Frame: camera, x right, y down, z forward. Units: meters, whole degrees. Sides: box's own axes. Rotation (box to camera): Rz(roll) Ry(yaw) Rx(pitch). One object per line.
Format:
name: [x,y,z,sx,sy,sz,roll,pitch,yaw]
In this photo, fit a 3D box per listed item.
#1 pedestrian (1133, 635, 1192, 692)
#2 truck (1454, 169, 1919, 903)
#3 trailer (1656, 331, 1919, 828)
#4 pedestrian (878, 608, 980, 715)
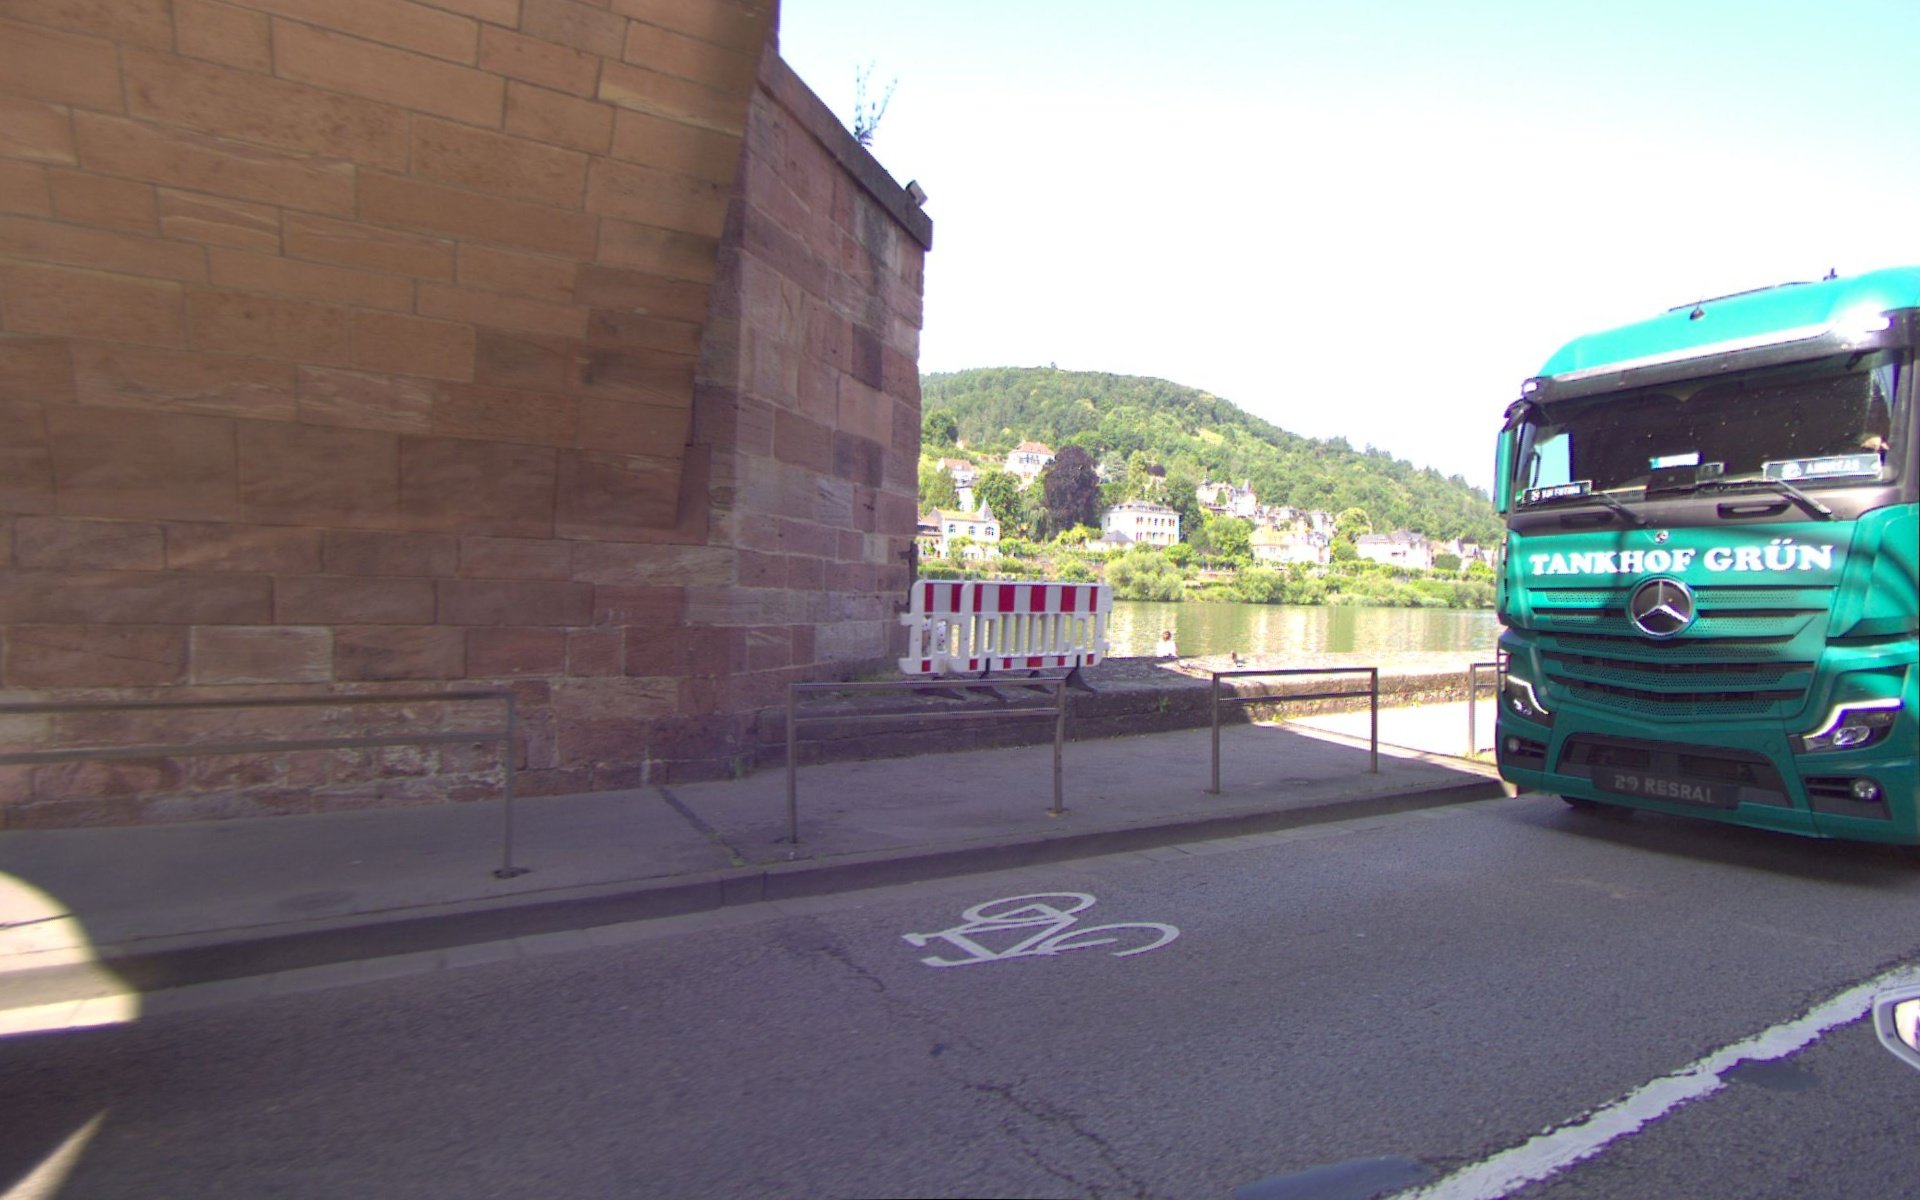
pedestrian: [4.358,1.344,21.644,0.820,1.146,0.962,0,1,-28]
truck: [6.876,-0.310,7.930,6.177,3.798,2.510,0,0,-32]
trailer: [11.631,-0.101,11.026,11.407,3.692,2.509,1,0,-33]
pedestrian: [-0.392,0.739,12.597,1.015,1.246,0.783,0,2,-35]
